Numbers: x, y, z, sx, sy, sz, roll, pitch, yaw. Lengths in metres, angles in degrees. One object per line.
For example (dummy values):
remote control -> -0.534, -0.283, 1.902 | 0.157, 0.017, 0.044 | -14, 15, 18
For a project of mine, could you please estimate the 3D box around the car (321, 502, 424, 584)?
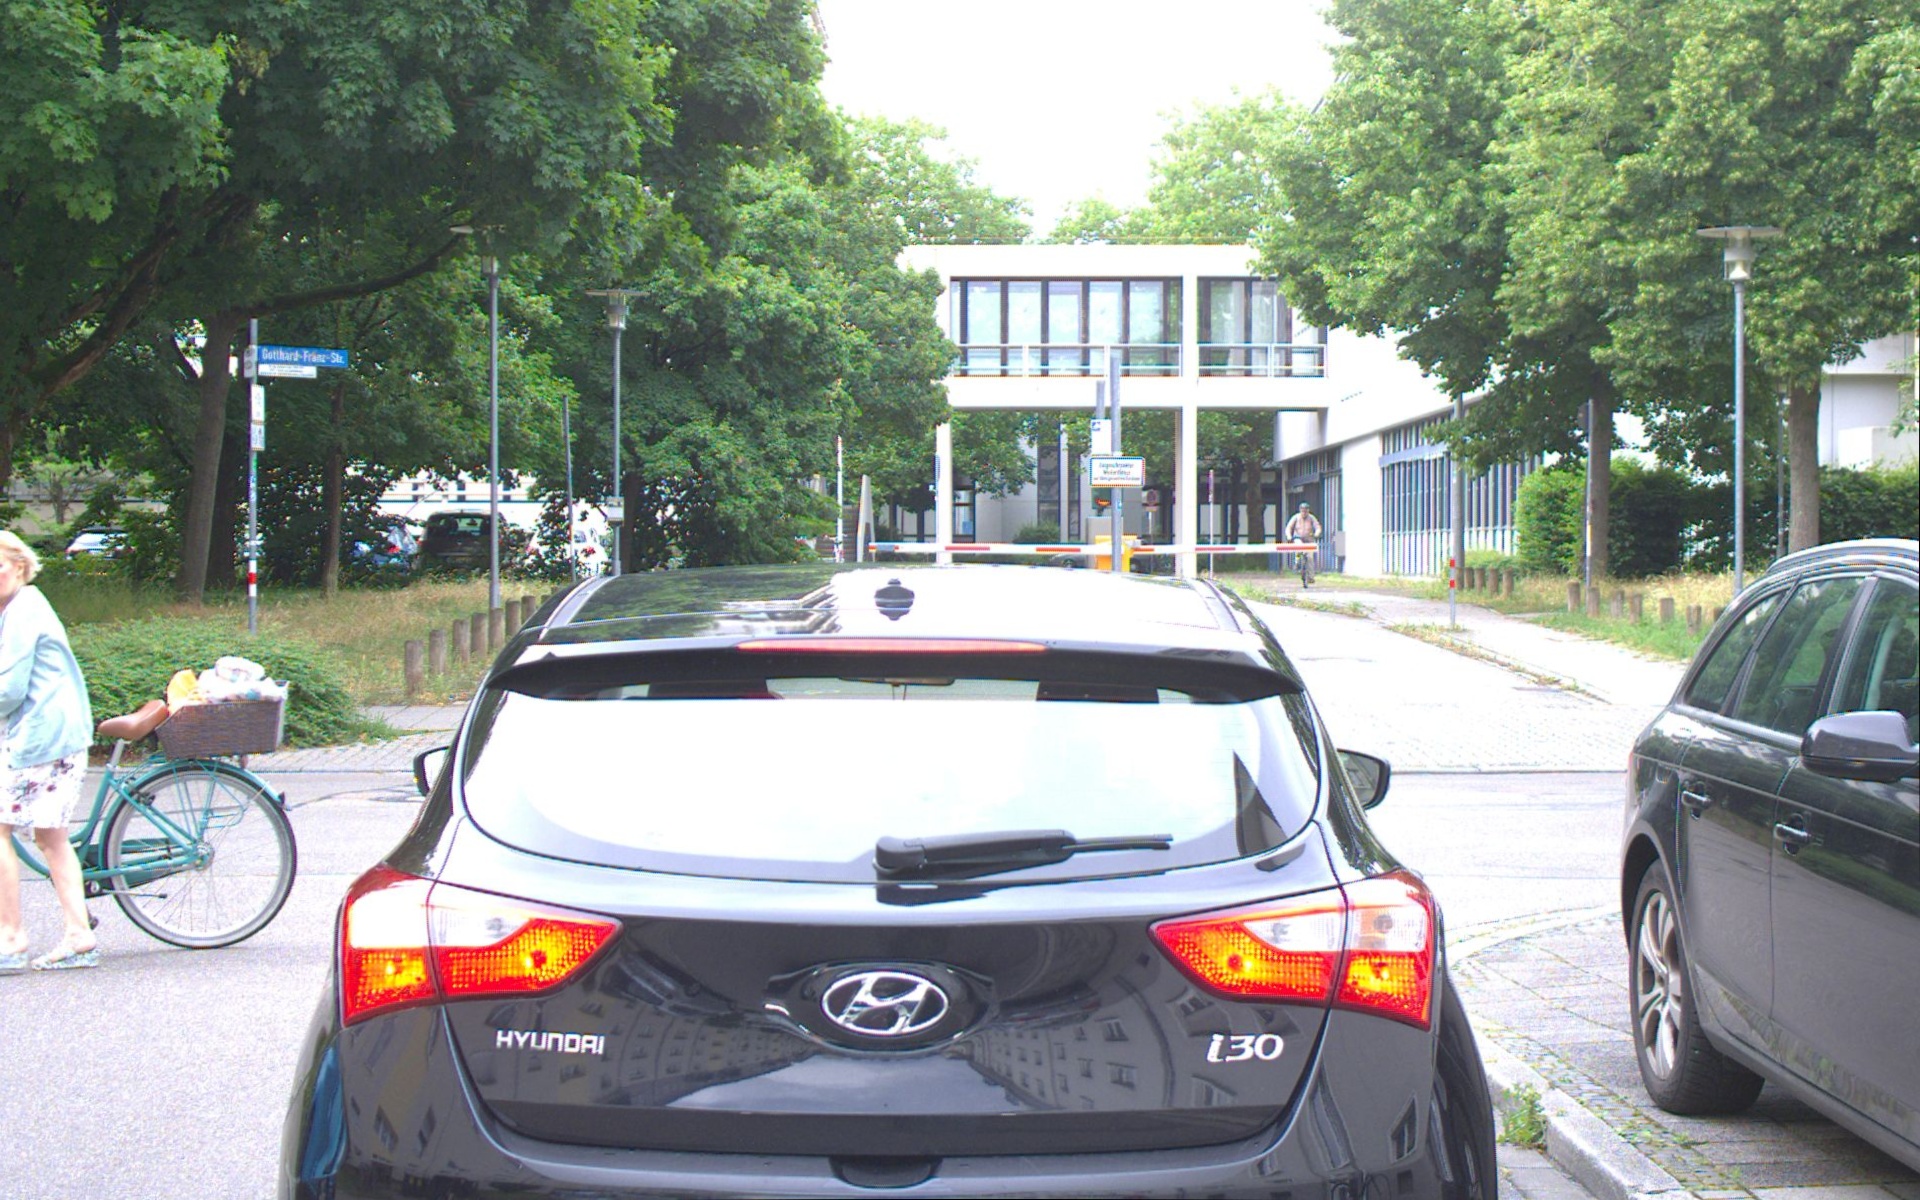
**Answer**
car -> -13.475, -1.295, 79.027 | 1.993, 1.788, 4.000 | 0, -1, -4

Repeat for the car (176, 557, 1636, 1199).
car -> -0.156, 0.659, 6.273 | 1.846, 1.457, 3.828 | 0, 1, -3

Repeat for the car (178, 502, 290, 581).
car -> -16.579, -1.317, 78.698 | 1.993, 1.722, 4.000 | 0, -1, -4

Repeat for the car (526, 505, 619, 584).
car -> -8.879, -1.257, 79.090 | 1.993, 1.756, 4.001 | 0, 0, -4

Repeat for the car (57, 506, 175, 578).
car -> -19.301, -1.338, 78.766 | 1.993, 1.612, 4.001 | 0, 1, -4

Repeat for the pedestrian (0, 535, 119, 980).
pedestrian -> -3.346, 0.552, 12.265 | 0.565, 1.544, 0.448 | -2, 2, -7

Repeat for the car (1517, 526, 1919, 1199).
car -> 2.597, 0.575, 7.284 | 1.860, 1.457, 4.726 | -1, 1, -3

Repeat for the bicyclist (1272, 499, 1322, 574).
bicyclist -> 7.372, -1.394, 75.229 | 1.017, 1.639, 0.923 | 0, 2, 1

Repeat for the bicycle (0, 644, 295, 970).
bicycle -> -3.395, 0.764, 12.631 | 1.812, 1.115, 0.538 | -2, 2, -9

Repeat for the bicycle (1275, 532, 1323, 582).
bicycle -> 7.399, -0.948, 75.166 | 0.866, 1.071, 2.142 | 0, 2, 1
